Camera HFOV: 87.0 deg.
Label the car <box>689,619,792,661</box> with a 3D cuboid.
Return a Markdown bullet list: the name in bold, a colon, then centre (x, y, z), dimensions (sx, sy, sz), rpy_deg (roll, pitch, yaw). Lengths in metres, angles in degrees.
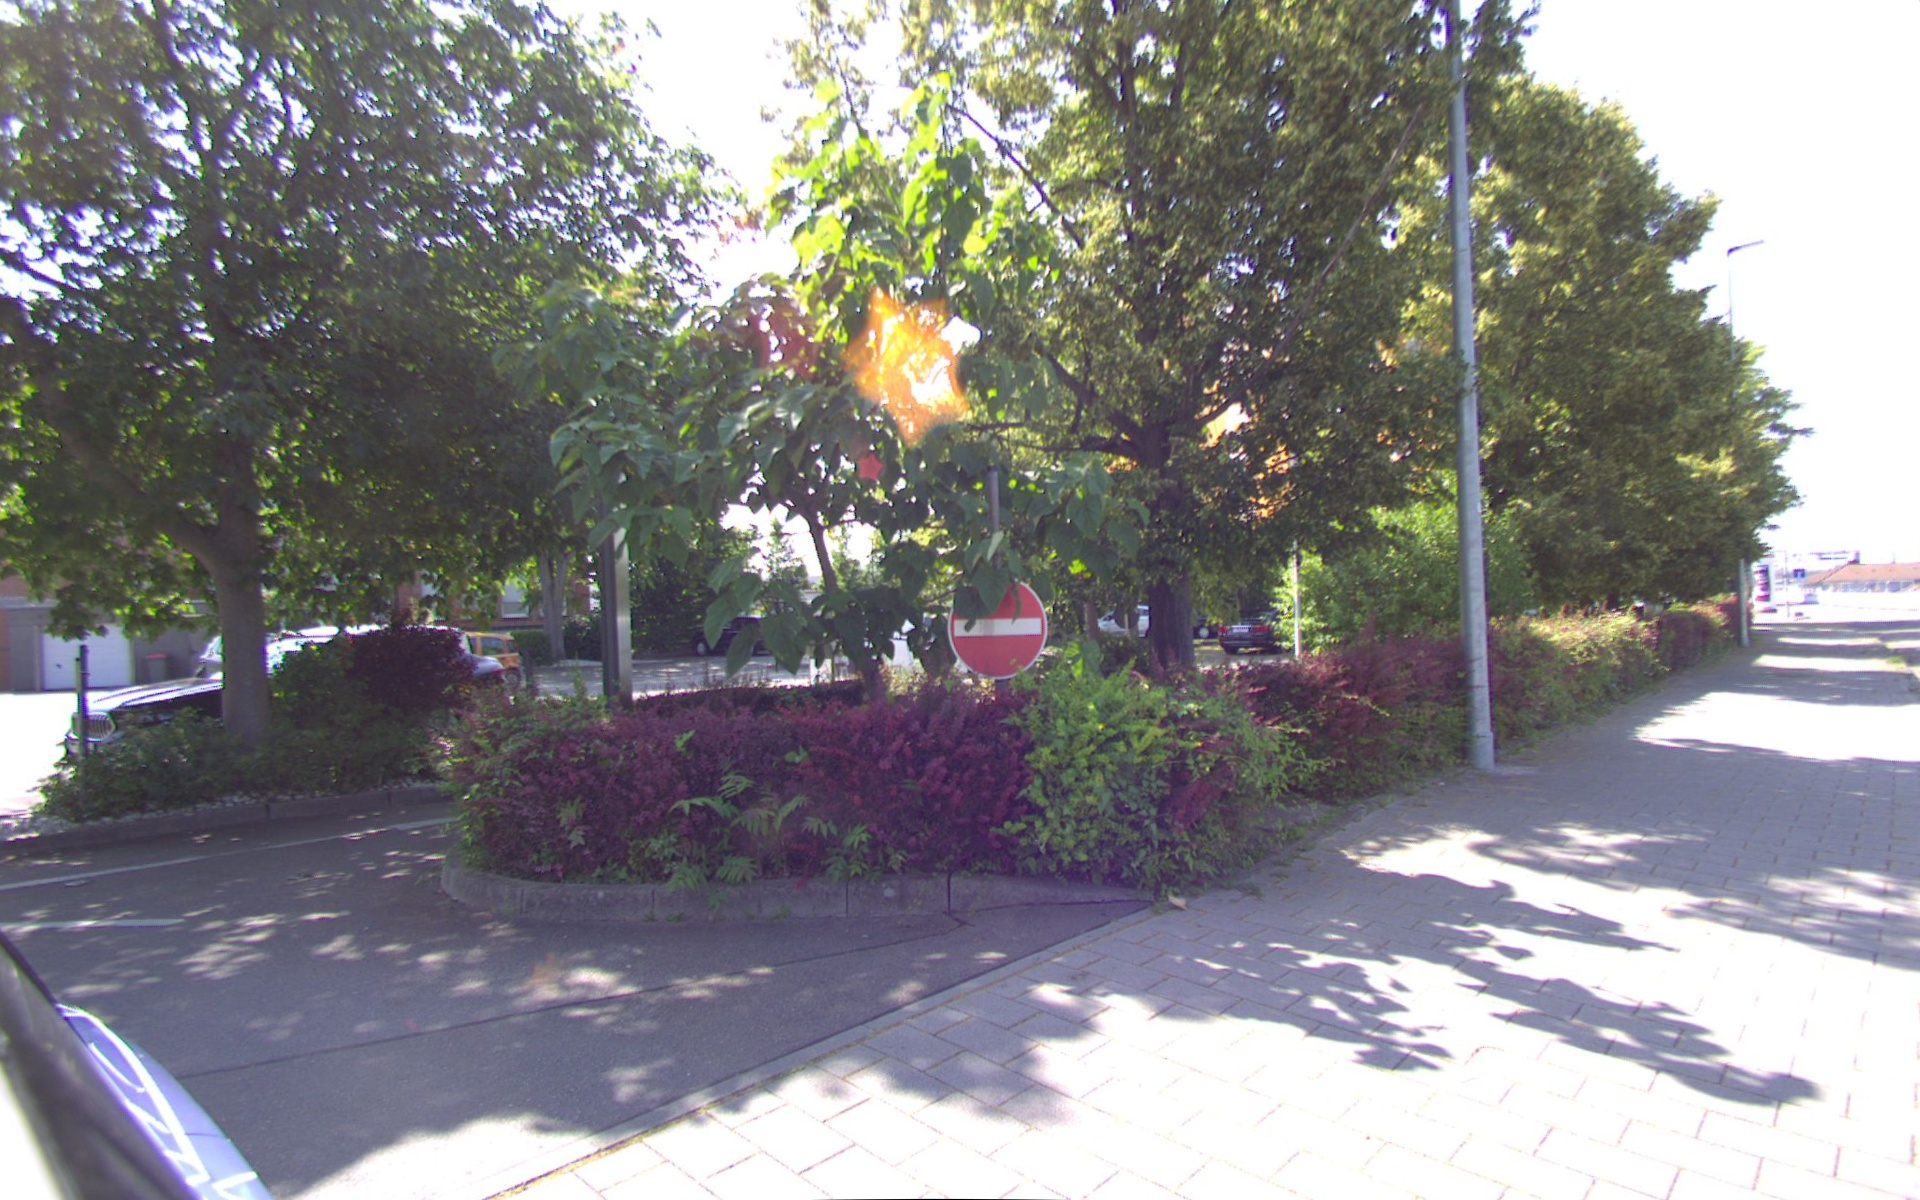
- **car**: centre (-8.865, 1.603, 40.863), dimensions (3.854, 1.588, 1.801), rpy_deg (-2, -1, 30)

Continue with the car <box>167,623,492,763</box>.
- **car**: centre (-9.715, 1.331, 16.016), dimensions (1.747, 1.812, 4.200), rpy_deg (-2, -1, 20)

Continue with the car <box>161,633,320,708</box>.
- **car**: centre (-16.386, 1.566, 23.016), dimensions (3.598, 1.543, 1.604), rpy_deg (-2, -1, 30)

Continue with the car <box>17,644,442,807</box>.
- **car**: centre (-8.578, 1.372, 12.327), dimensions (1.644, 1.505, 3.973), rpy_deg (-2, -1, 20)

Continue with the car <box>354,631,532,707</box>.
- **car**: centre (-12.896, 1.667, 25.459), dimensions (1.662, 1.644, 3.687), rpy_deg (-2, -1, 29)

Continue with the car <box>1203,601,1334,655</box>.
- **car**: centre (10.040, 0.874, 32.655), dimensions (2.074, 1.572, 4.959), rpy_deg (-3, -2, 42)

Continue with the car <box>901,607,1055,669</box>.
- **car**: centre (0.499, 1.031, 27.882), dimensions (3.790, 1.595, 1.889), rpy_deg (-2, -1, 26)

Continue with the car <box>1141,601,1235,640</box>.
- **car**: centre (10.774, 0.992, 47.908), dimensions (4.007, 1.745, 1.784), rpy_deg (-2, -1, 30)

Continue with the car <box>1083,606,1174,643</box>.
- **car**: centre (7.794, 1.130, 46.758), dimensions (3.831, 1.600, 1.628), rpy_deg (-2, -1, 28)

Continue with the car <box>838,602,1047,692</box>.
- **car**: centre (-0.401, 1.050, 22.638), dimensions (4.327, 1.841, 1.735), rpy_deg (-2, 0, 24)
